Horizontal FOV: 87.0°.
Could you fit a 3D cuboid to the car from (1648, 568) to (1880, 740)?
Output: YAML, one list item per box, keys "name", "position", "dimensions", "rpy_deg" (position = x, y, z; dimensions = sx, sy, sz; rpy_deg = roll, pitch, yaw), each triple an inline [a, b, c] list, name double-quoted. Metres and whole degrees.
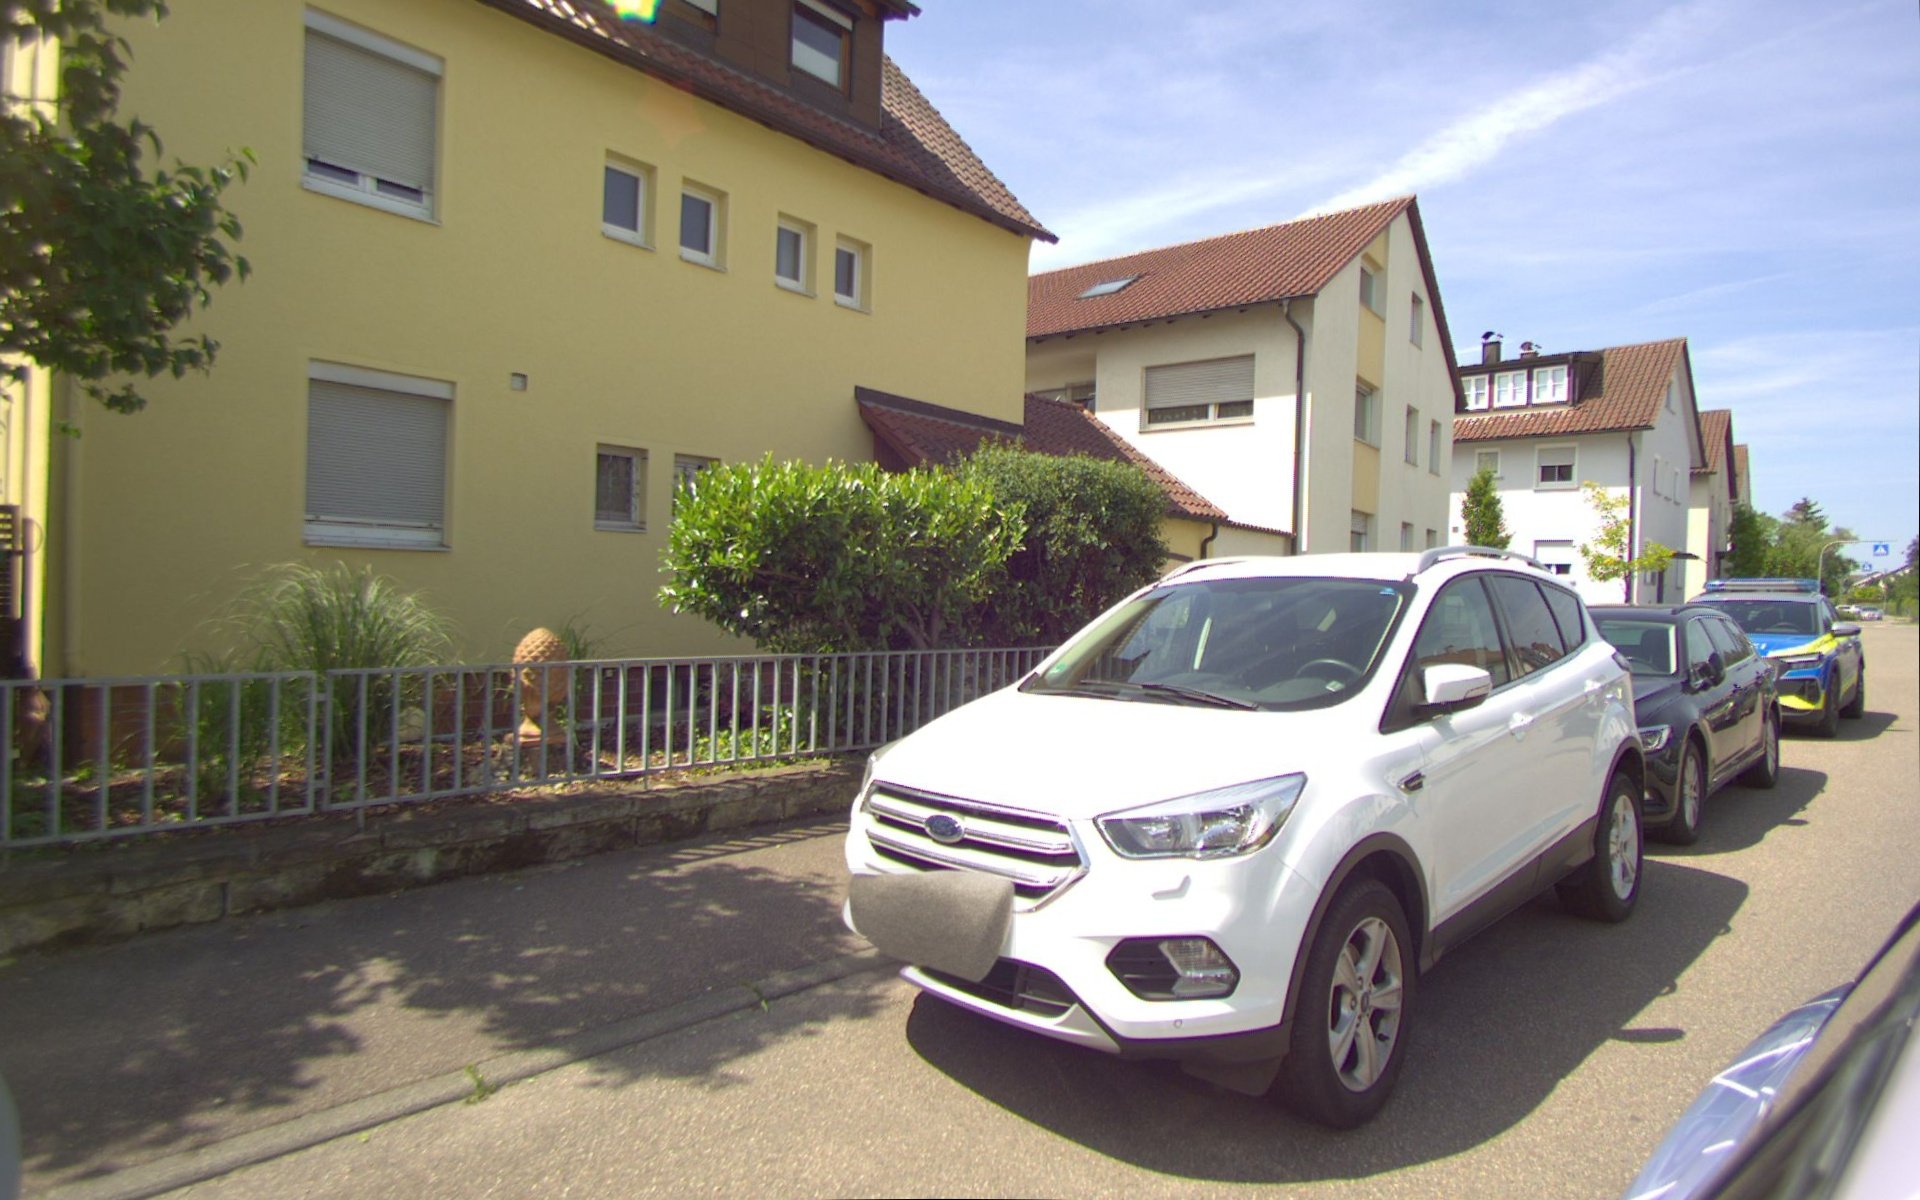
- name: "car"
  position: [9.951, 0.552, 12.413]
  dimensions: [3.987, 1.771, 1.667]
  rpy_deg: [0, 0, -43]

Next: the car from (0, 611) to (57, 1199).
- name: "car"
  position: [-3.081, 0.741, 0.176]
  dimensions: [4.346, 1.439, 1.753]
  rpy_deg: [0, -1, -43]

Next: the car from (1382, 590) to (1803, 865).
- name: "car"
  position: [4.902, 0.690, 7.557]
  dimensions: [4.299, 1.487, 1.625]
  rpy_deg: [0, 0, -43]

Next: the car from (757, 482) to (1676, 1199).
- name: "car"
  position: [1.447, 0.589, 4.254]
  dimensions: [4.264, 1.683, 1.738]
  rpy_deg: [0, 0, -43]
